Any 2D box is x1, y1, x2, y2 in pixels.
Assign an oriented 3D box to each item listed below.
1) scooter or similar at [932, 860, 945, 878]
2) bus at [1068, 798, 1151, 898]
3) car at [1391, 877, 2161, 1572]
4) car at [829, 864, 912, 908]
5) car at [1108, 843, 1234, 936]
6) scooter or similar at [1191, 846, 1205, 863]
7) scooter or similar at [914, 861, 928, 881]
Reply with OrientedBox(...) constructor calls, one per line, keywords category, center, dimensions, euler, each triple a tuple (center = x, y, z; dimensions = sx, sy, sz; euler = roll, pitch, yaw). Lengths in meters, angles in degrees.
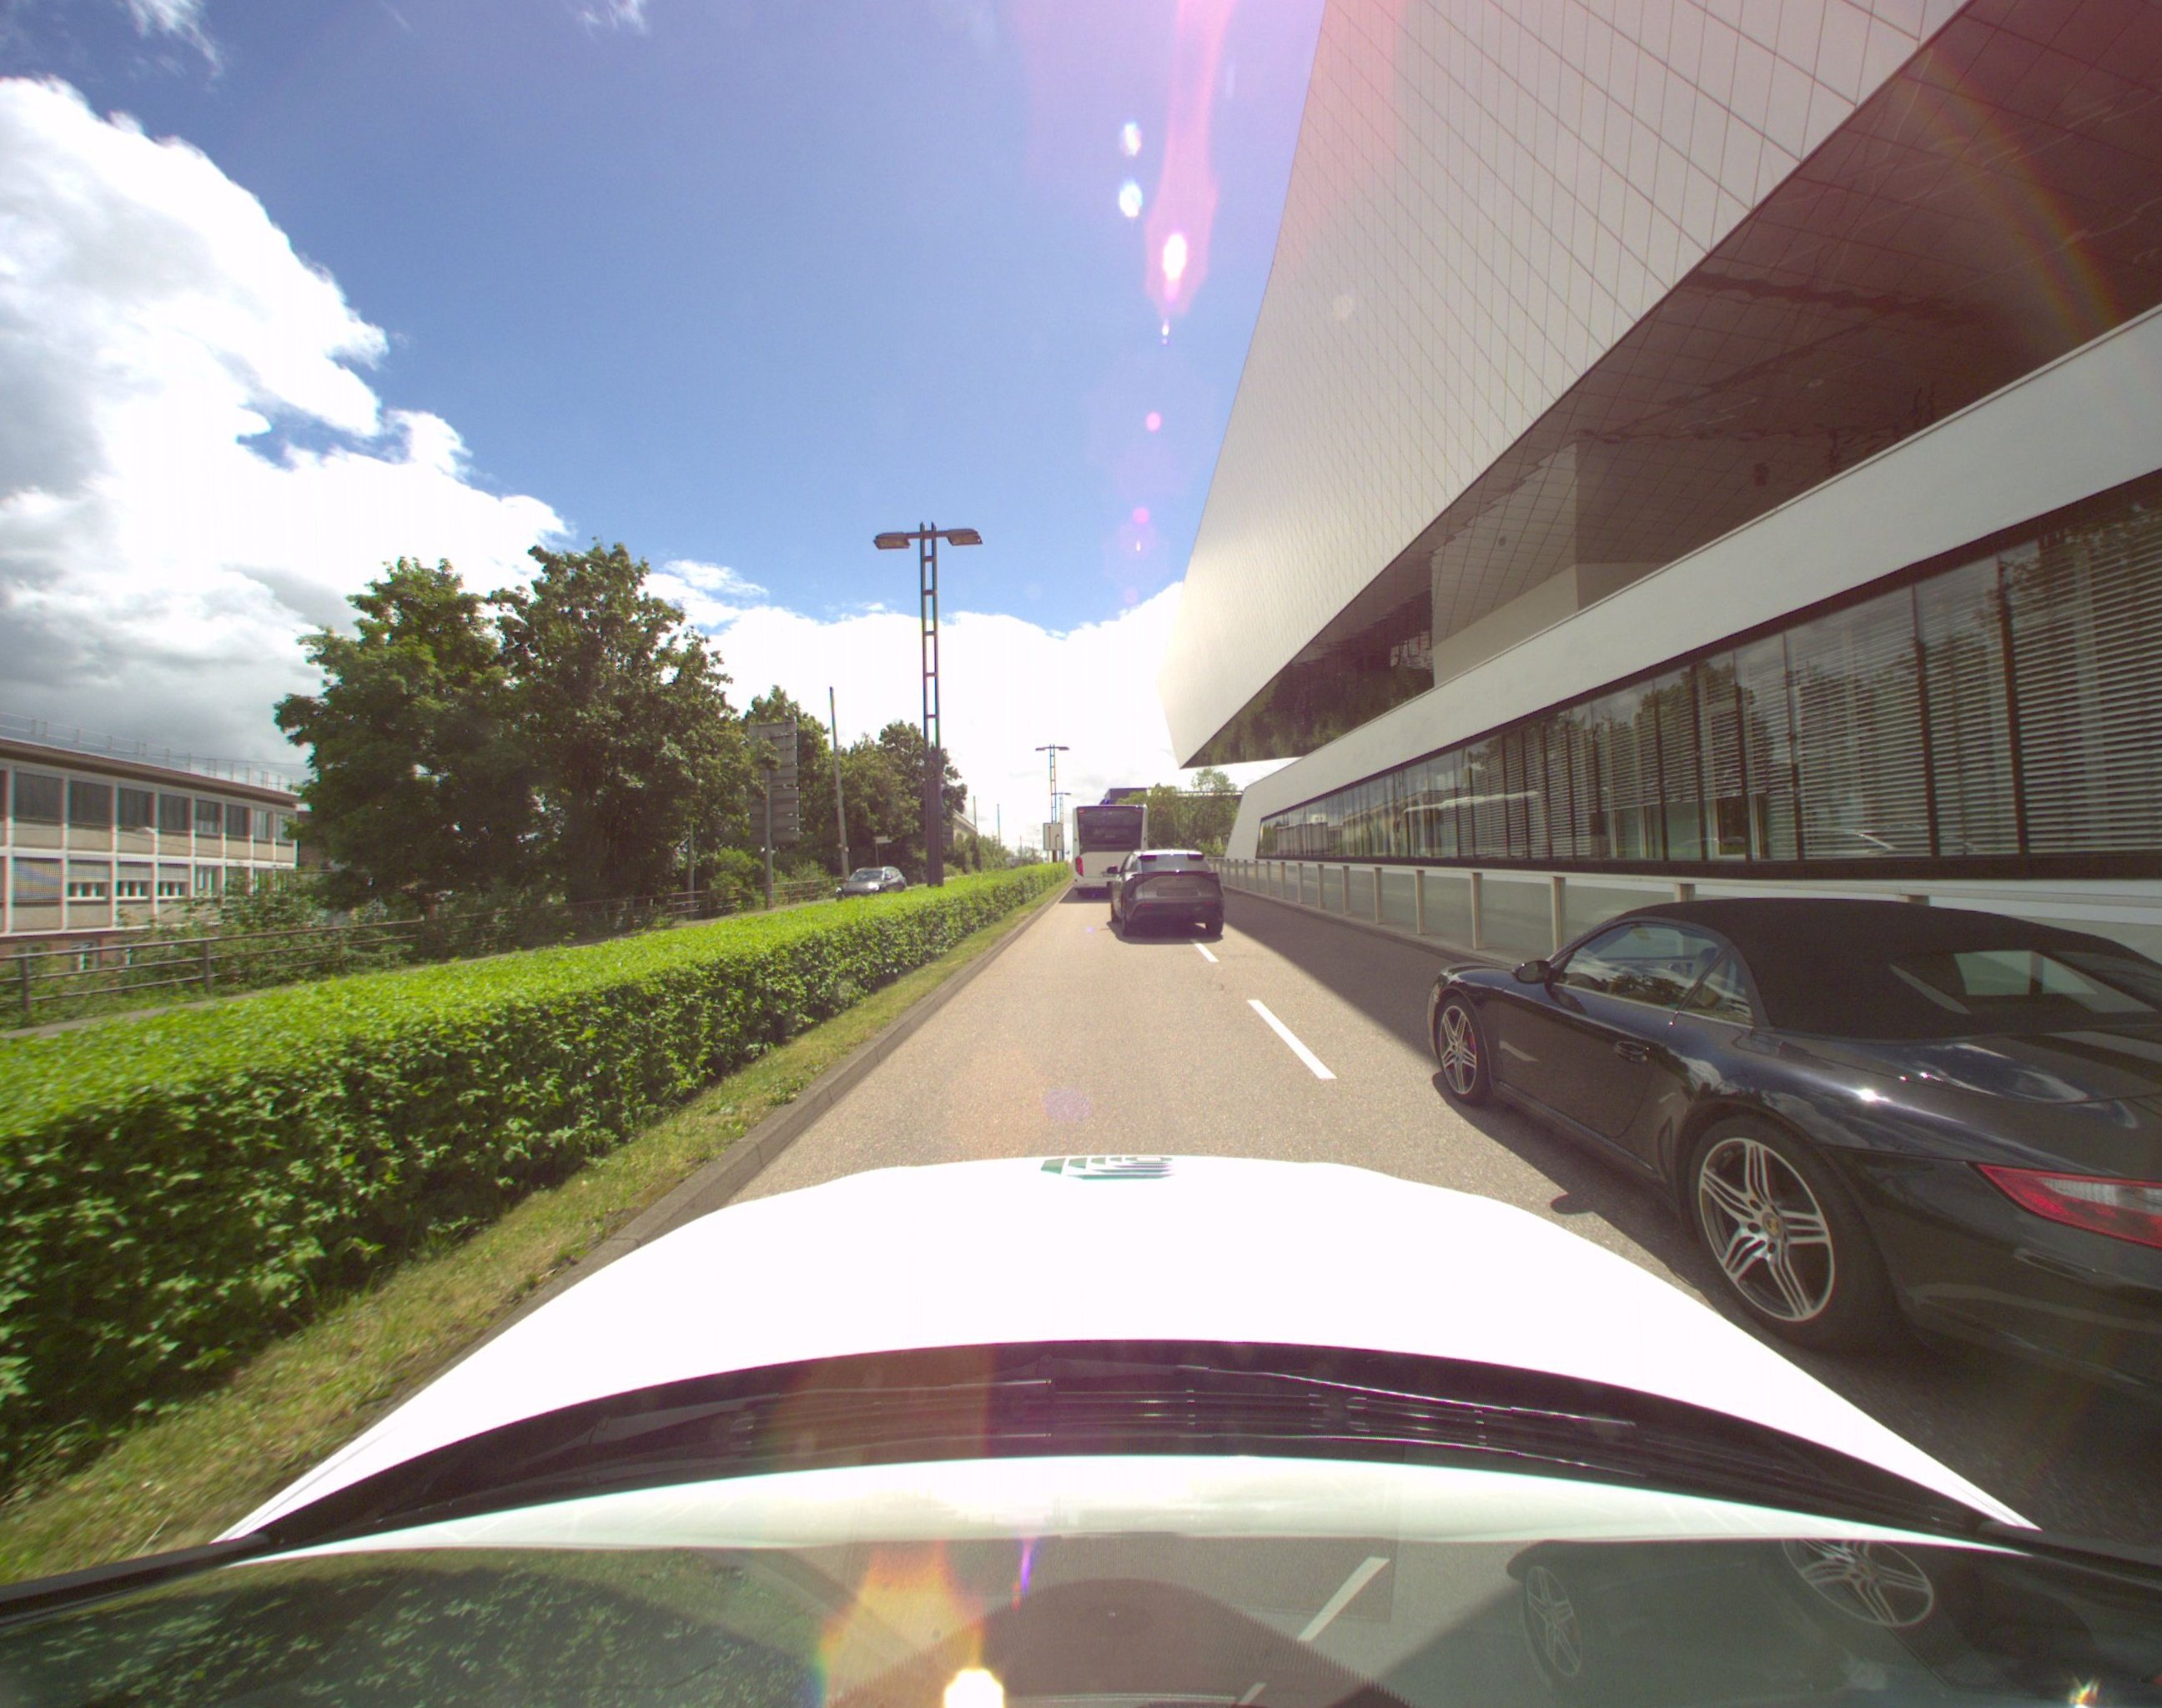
OrientedBox(category="scooter or similar", center=(-10.344, 1.096, 59.066), dimensions=(0.489, 1.216, 1.644), euler=(-3, 0, 3))
OrientedBox(category="bus", center=(1.166, -0.267, 32.701), dimensions=(2.678, 3.255, 12.064), euler=(-1, 1, 2))
OrientedBox(category="car", center=(2.999, 0.806, 3.686), dimensions=(1.713, 1.275, 4.089), euler=(-1, 0, 1))
OrientedBox(category="car", center=(-8.364, 1.242, 32.823), dimensions=(1.832, 1.507, 4.565), euler=(-3, 0, 3))
OrientedBox(category="car", center=(1.654, 0.642, 16.375), dimensions=(1.875, 1.594, 4.225), euler=(-1, -1, -3))
OrientedBox(category="scooter or similar", center=(8.453, 0.060, 58.853), dimensions=(0.651, 1.214, 1.856), euler=(-3, -1, -2))
OrientedBox(category="scooter or similar", center=(-10.527, 1.121, 53.504), dimensions=(0.489, 1.304, 1.644), euler=(-1, 0, 3))
